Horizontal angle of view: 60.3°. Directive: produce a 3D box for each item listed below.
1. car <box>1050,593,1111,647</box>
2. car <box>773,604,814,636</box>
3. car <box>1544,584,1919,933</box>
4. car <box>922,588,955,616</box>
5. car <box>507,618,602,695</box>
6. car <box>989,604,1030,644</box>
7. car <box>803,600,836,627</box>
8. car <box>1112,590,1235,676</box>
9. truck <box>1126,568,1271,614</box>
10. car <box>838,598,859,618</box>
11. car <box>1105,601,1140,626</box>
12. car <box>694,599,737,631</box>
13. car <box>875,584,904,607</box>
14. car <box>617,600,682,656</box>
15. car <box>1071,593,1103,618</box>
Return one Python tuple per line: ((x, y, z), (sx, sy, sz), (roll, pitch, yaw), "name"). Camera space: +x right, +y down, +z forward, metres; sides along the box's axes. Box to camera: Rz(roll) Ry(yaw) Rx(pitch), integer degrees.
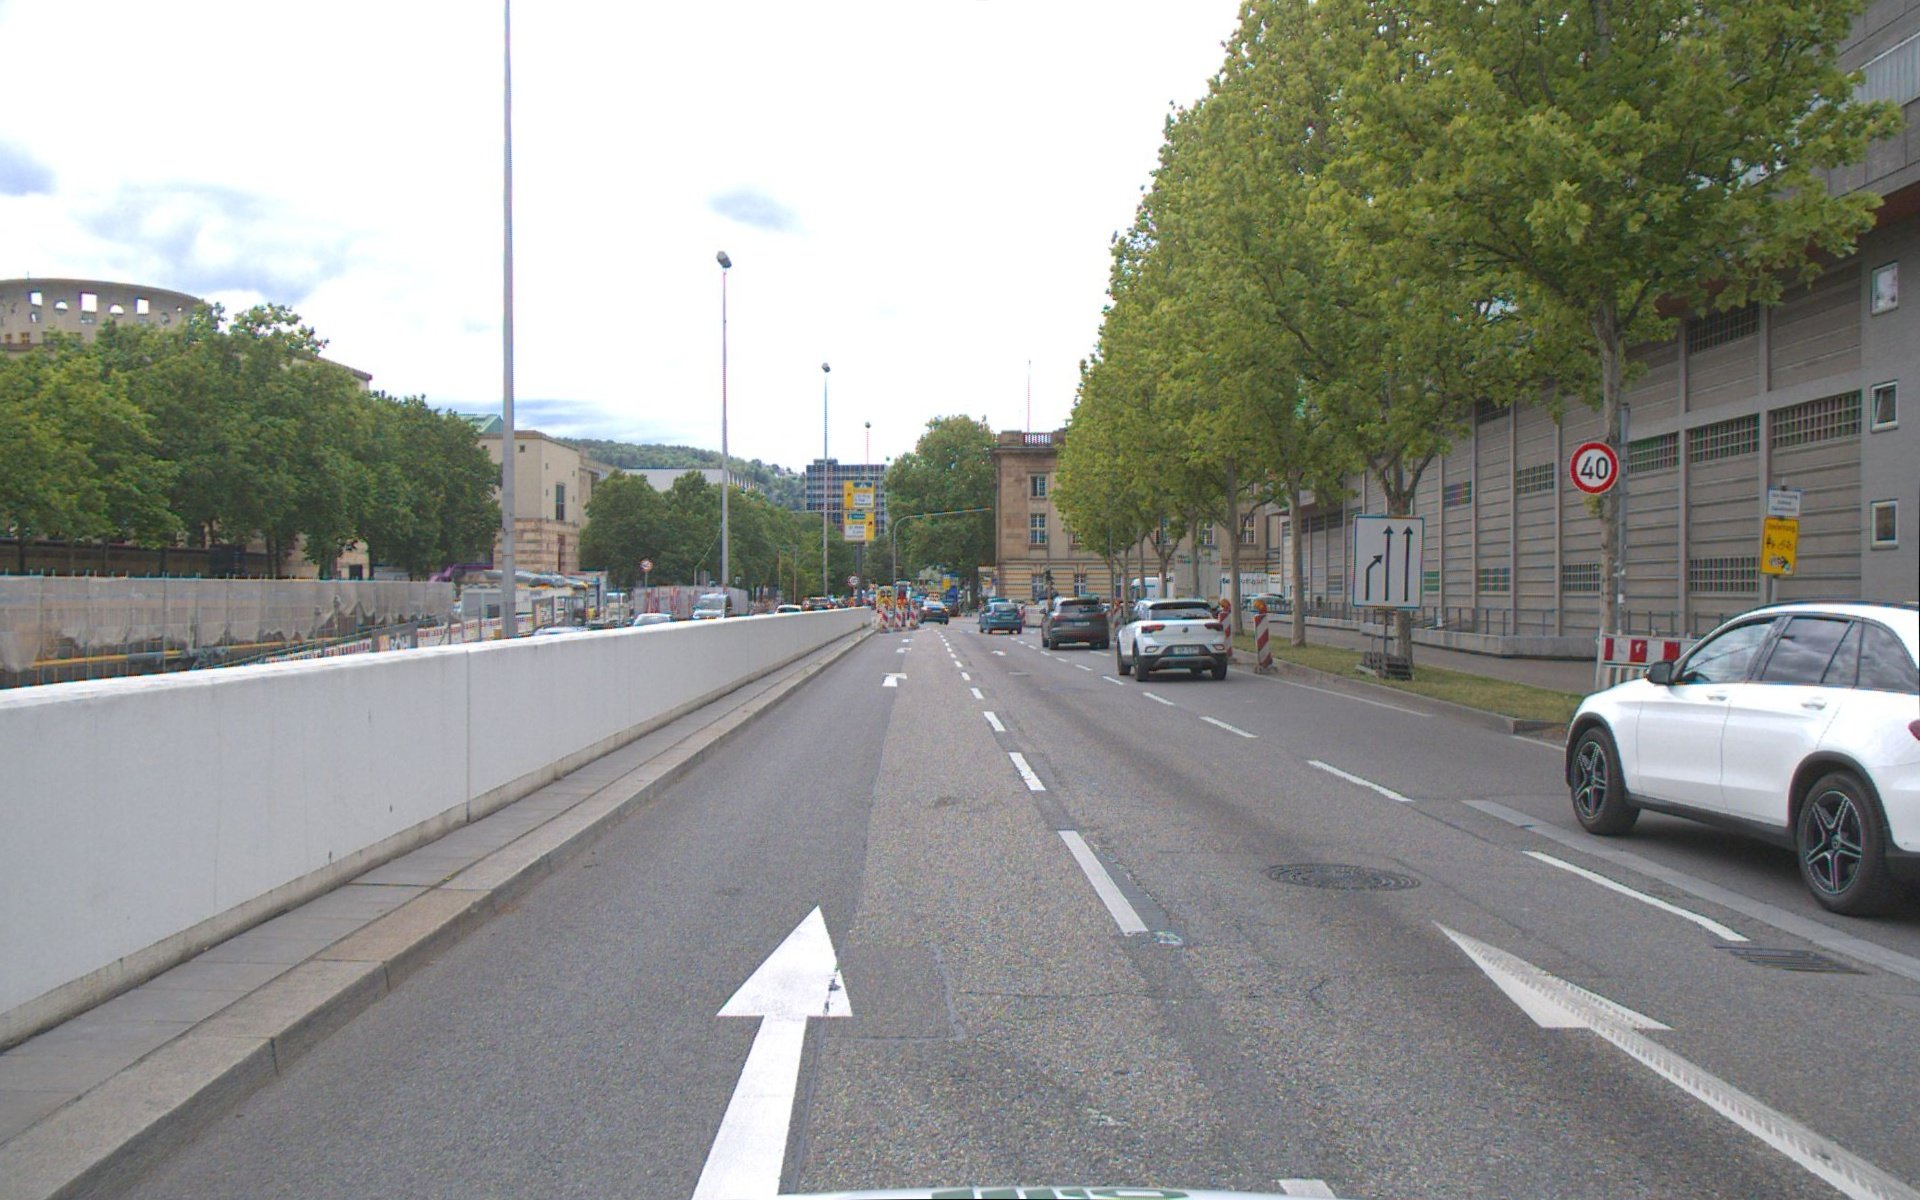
((3.911, 0.623, 54.357), (1.785, 1.595, 4.481), (-3, 0, 2), "car")
((-8.405, 0.991, 83.875), (1.715, 1.595, 3.377), (1, 0, 0), "car")
((5.346, 0.757, 9.933), (1.776, 1.671, 4.548), (1, 0, -4), "car")
((-1.369, 0.112, 106.131), (1.785, 1.771, 4.482), (-1, 0, 4), "car")
((-12.145, 1.644, 49.768), (1.953, 2.048, 3.999), (0, 1, -2), "car")
((2.391, 1.130, 78.812), (1.785, 1.771, 4.482), (-1, 0, 4), "car")
((-8.819, 0.858, 104.254), (1.715, 1.595, 3.377), (-3, 0, 0), "car")
((4.196, 0.600, 33.178), (1.715, 1.595, 4.329), (-1, 0, -3), "car")
((16.739, -0.616, 116.379), (9.824, 3.104, 2.568), (0, -1, -1), "truck")
((-9.254, 0.658, 137.337), (1.716, 1.595, 4.328), (0, 0, -4), "car")
((10.630, 0.879, 108.185), (1.818, 1.595, 4.330), (0, -1, -1), "car")
((-12.827, 0.772, 86.901), (1.715, 1.595, 3.377), (-3, 0, 0), "car")
((-7.532, -0.503, 176.418), (2.528, 2.416, 5.529), (-1, 0, 3), "car")
((-12.524, 1.097, 66.940), (1.953, 2.048, 3.999), (0, 1, -2), "car")
((8.289, 0.354, 108.132), (1.715, 1.595, 4.330), (0, -1, -1), "car")
